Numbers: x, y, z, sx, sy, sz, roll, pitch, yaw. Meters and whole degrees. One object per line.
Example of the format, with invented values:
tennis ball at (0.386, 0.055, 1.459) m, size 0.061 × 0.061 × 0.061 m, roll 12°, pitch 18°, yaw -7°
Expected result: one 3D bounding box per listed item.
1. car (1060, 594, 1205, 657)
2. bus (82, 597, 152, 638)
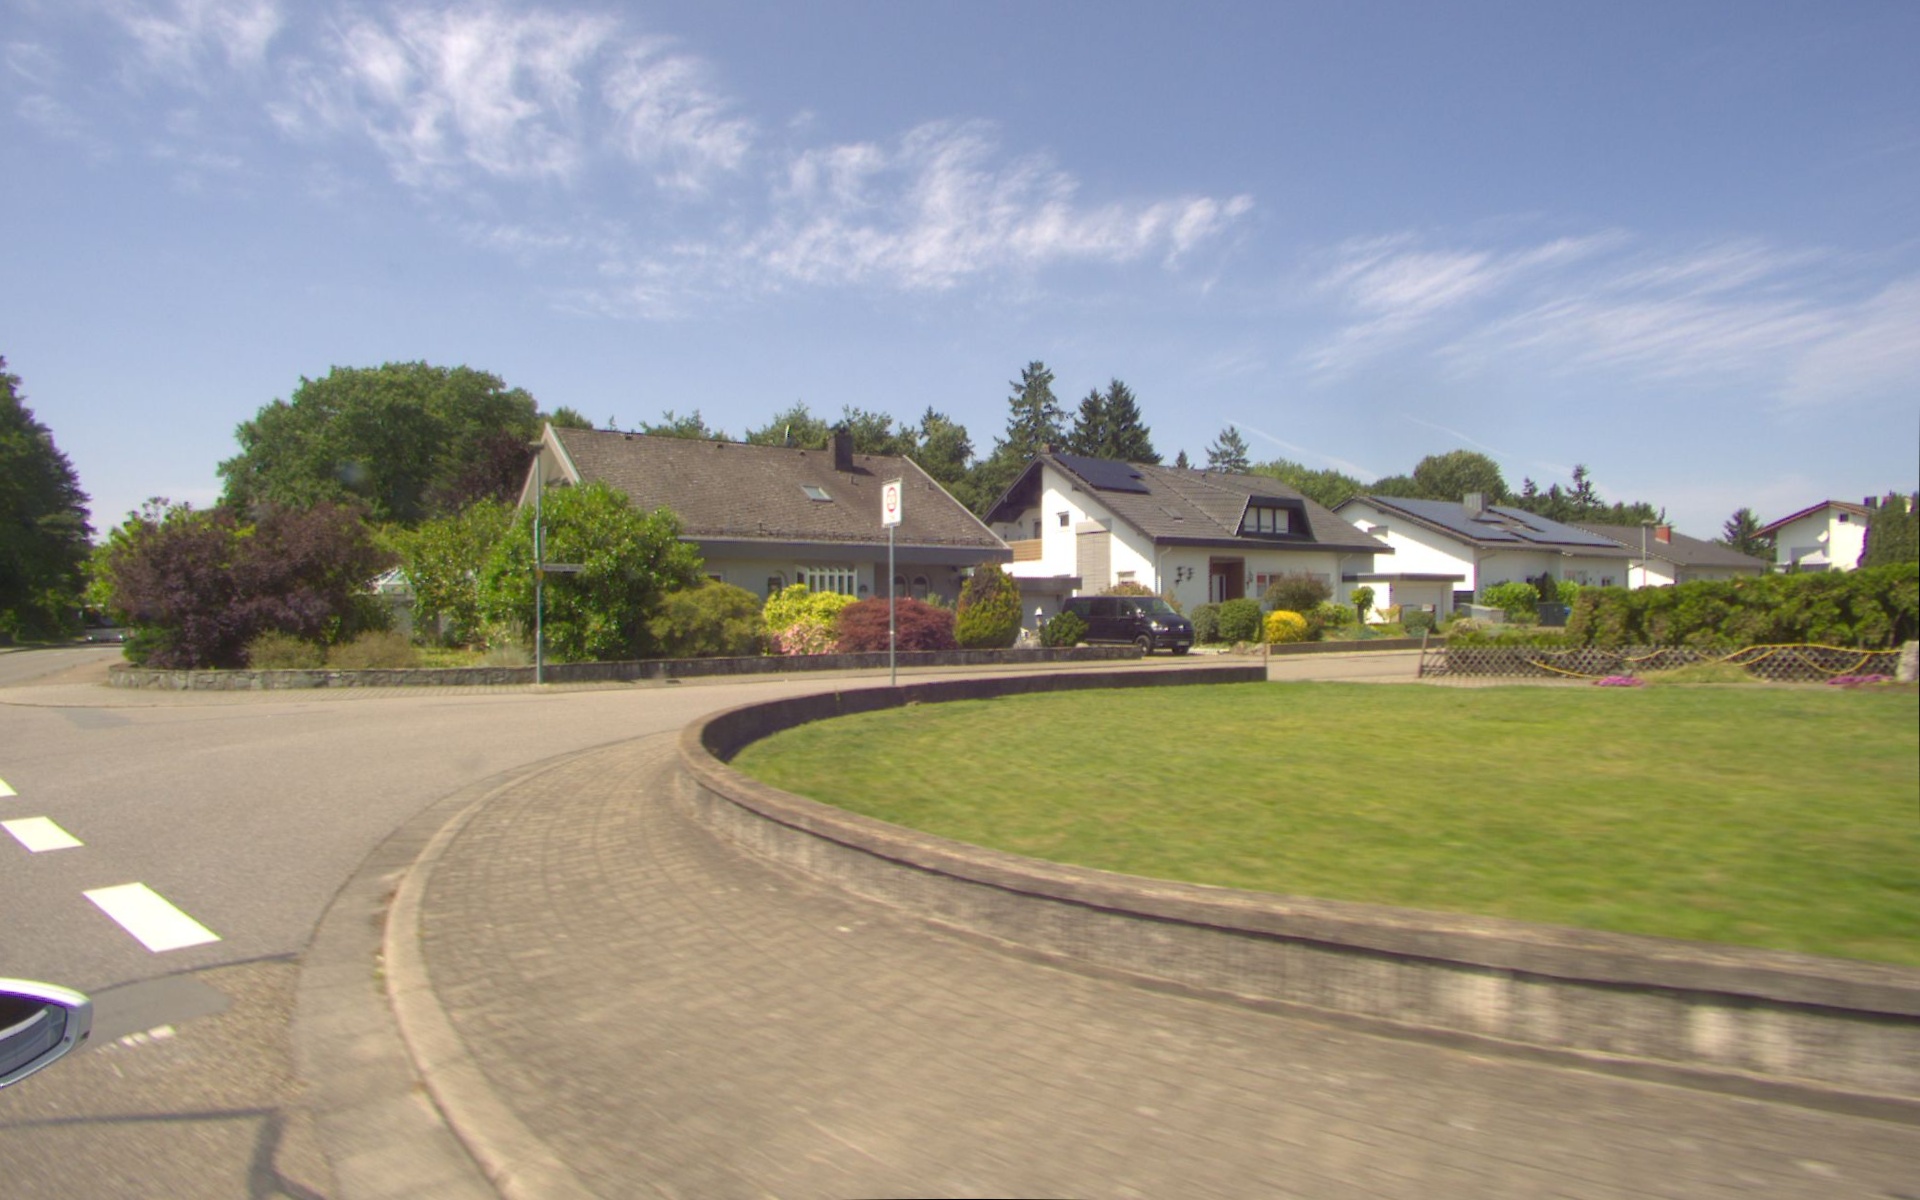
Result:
car at (5.657, 0.830, 33.421) m, size 1.903 × 1.940 × 4.934 m, roll 0°, pitch 0°, yaw -34°
bus at (-72.490, 1.482, 86.356) m, size 3.149 × 3.287 × 12.631 m, roll -1°, pitch 0°, yaw -34°
